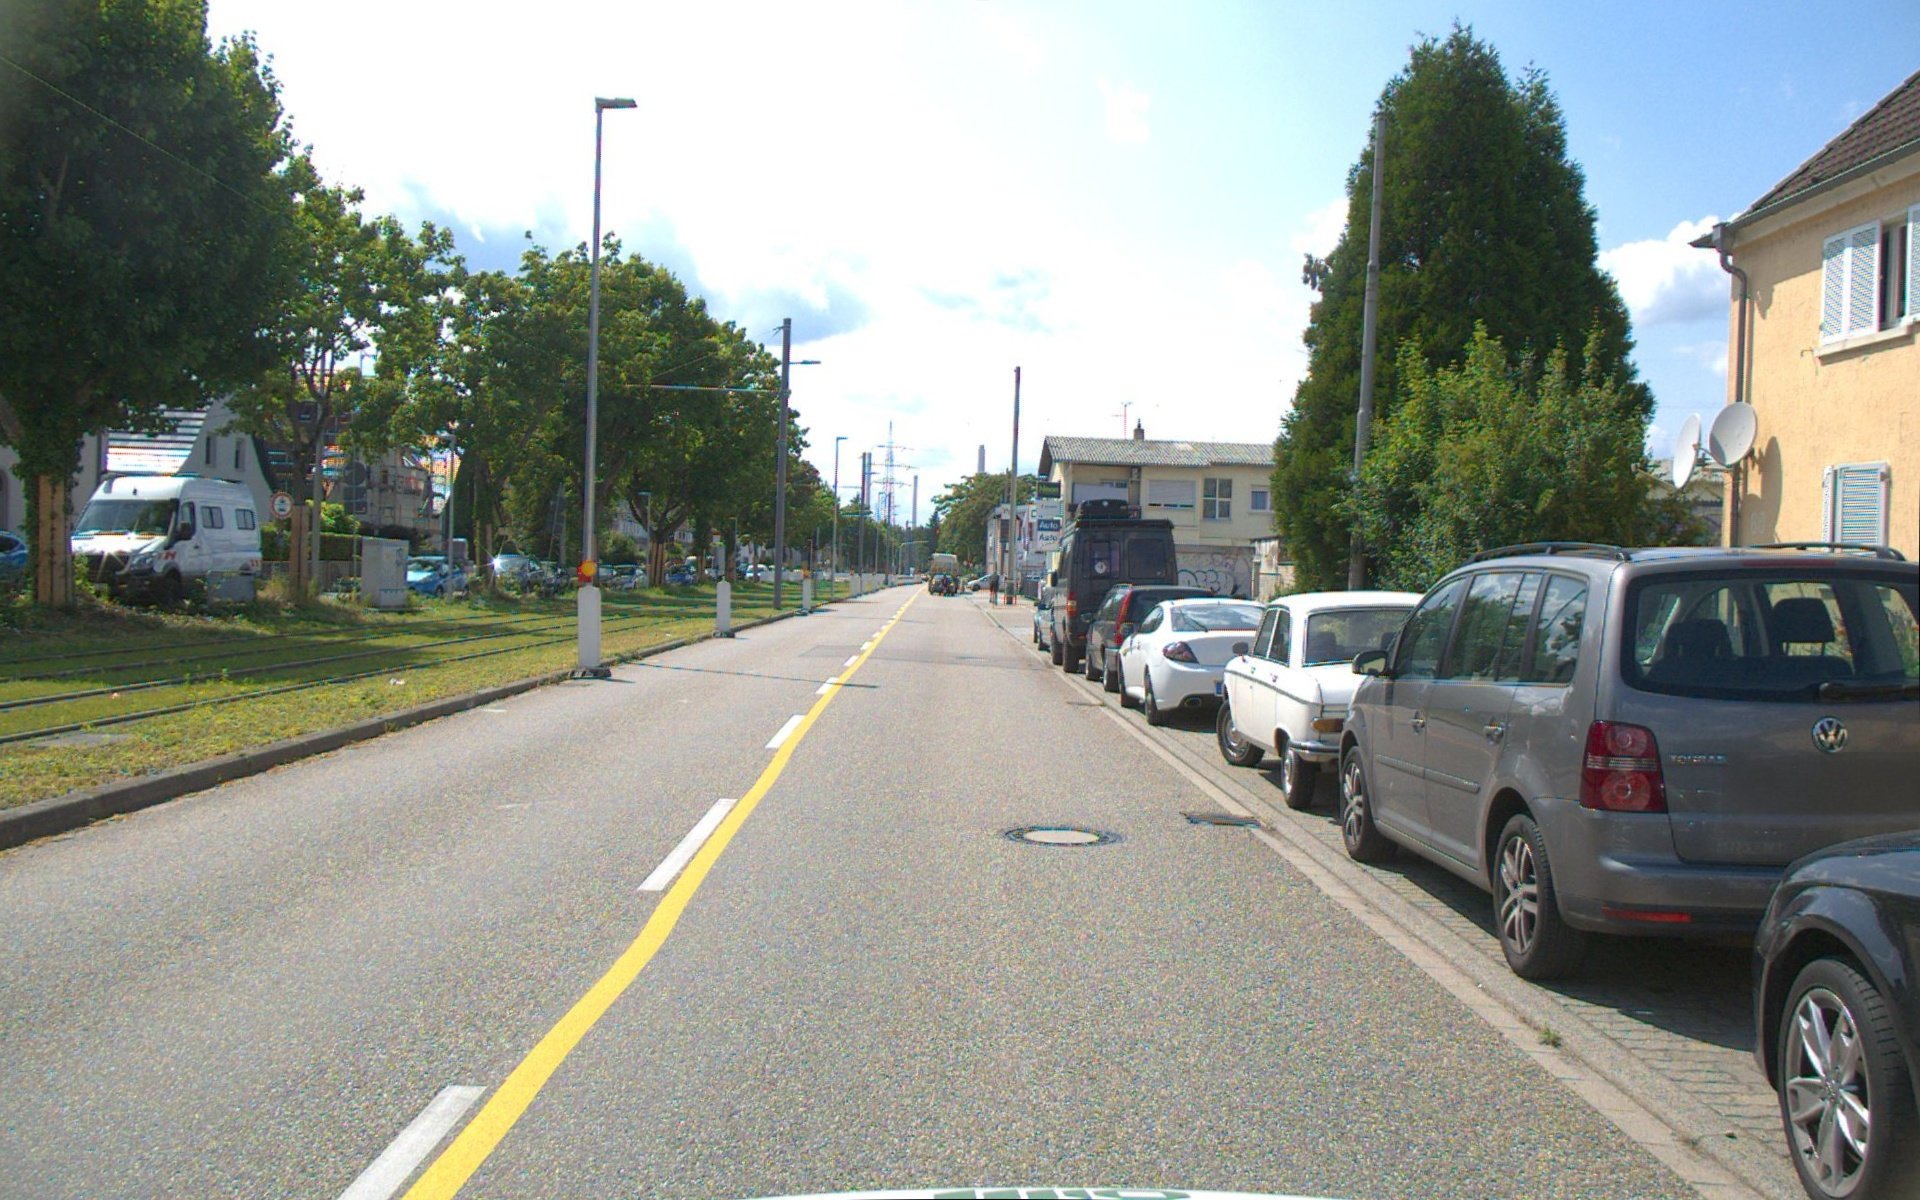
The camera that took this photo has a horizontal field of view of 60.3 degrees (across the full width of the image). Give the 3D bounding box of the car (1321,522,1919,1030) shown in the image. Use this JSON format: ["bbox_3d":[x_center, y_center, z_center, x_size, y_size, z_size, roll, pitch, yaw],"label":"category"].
[{"bbox_3d":[2.995,0.562,7.586,1.645,1.658,4.270,1,1,-1],"label":"car"}]

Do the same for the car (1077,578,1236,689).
[{"bbox_3d":[2.767,0.414,24.218,1.686,1.426,4.836,1,1,-1],"label":"car"}]

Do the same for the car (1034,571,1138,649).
[{"bbox_3d":[2.643,0.191,35.645,1.657,1.542,4.353,1,0,-3],"label":"car"}]

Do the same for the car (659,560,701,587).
[{"bbox_3d":[-16.777,-1.569,99.186,1.954,1.478,3.998,1,0,-3],"label":"car"}]

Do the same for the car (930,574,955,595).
[{"bbox_3d":[-1.321,-1.203,123.148,1.785,1.449,4.000,3,1,-1],"label":"car"}]

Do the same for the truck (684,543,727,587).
[{"bbox_3d":[-16.911,-2.354,110.238,1.953,2.816,6.276,-1,1,-1],"label":"truck"}]

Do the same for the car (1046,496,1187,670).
[{"bbox_3d":[2.690,-0.297,29.441,1.955,2.809,4.878,1,1,-1],"label":"car"}]

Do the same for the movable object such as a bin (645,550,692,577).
[{"bbox_3d":[-28.805,-3.588,163.420,4.276,2.492,1.777,2,1,-23],"label":"movable object such as a bin"}]

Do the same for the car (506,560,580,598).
[{"bbox_3d":[-16.572,-0.818,65.897,1.953,1.464,3.999,0,0,-1],"label":"car"}]

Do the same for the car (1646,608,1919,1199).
[{"bbox_3d":[2.922,0.755,2.738,1.651,1.462,4.515,1,0,-1],"label":"car"}]

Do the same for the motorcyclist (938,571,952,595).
[{"bbox_3d":[-1.090,-1.229,118.496,0.920,1.643,1.205,4,0,-1],"label":"motorcyclist"}]

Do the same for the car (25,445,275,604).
[{"bbox_3d":[-15.666,-1.391,32.487,1.954,2.778,6.460,1,1,-3],"label":"car"}]

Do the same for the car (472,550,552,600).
[{"bbox_3d":[-16.228,-0.893,60.158,1.954,1.720,4.388,1,0,-4],"label":"car"}]

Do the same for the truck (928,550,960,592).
[{"bbox_3d":[-1.324,-2.532,139.471,2.557,3.312,9.183,1,2,0],"label":"truck"}]

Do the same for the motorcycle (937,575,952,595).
[{"bbox_3d":[-1.106,-1.076,118.678,0.920,1.343,2.645,4,0,-1],"label":"motorcycle"}]

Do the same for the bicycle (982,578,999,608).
[{"bbox_3d":[1.453,-0.359,79.049,0.679,1.385,2.418,2,1,-1],"label":"bicycle"}]

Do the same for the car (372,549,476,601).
[{"bbox_3d":[-15.949,-0.725,49.400,1.718,1.461,3.890,1,0,1],"label":"car"}]

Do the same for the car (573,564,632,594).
[{"bbox_3d":[-16.411,-0.951,76.093,1.953,1.341,3.852,-1,0,-1],"label":"car"}]

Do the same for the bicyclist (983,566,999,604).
[{"bbox_3d":[1.464,-0.704,79.024,0.657,1.774,0.813,2,1,-1],"label":"bicyclist"}]

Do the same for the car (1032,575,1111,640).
[{"bbox_3d":[2.673,0.171,40.342,1.618,1.456,4.096,1,0,0],"label":"car"}]

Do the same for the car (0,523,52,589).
[{"bbox_3d":[-24.269,-1.087,40.493,1.864,1.605,4.000,1,0,0],"label":"car"}]

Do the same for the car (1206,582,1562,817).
[{"bbox_3d":[2.956,0.603,12.376,1.616,1.443,4.026,1,1,0],"label":"car"}]

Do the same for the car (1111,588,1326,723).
[{"bbox_3d":[2.799,0.543,18.756,1.686,1.318,4.128,1,1,-2],"label":"car"}]

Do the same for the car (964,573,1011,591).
[{"bbox_3d":[2.642,-1.762,160.668,4.250,1.579,1.946,1,0,-9],"label":"car"}]

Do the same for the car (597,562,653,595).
[{"bbox_3d":[-16.521,-1.053,81.744,1.768,1.508,4.939,1,0,0],"label":"car"}]
